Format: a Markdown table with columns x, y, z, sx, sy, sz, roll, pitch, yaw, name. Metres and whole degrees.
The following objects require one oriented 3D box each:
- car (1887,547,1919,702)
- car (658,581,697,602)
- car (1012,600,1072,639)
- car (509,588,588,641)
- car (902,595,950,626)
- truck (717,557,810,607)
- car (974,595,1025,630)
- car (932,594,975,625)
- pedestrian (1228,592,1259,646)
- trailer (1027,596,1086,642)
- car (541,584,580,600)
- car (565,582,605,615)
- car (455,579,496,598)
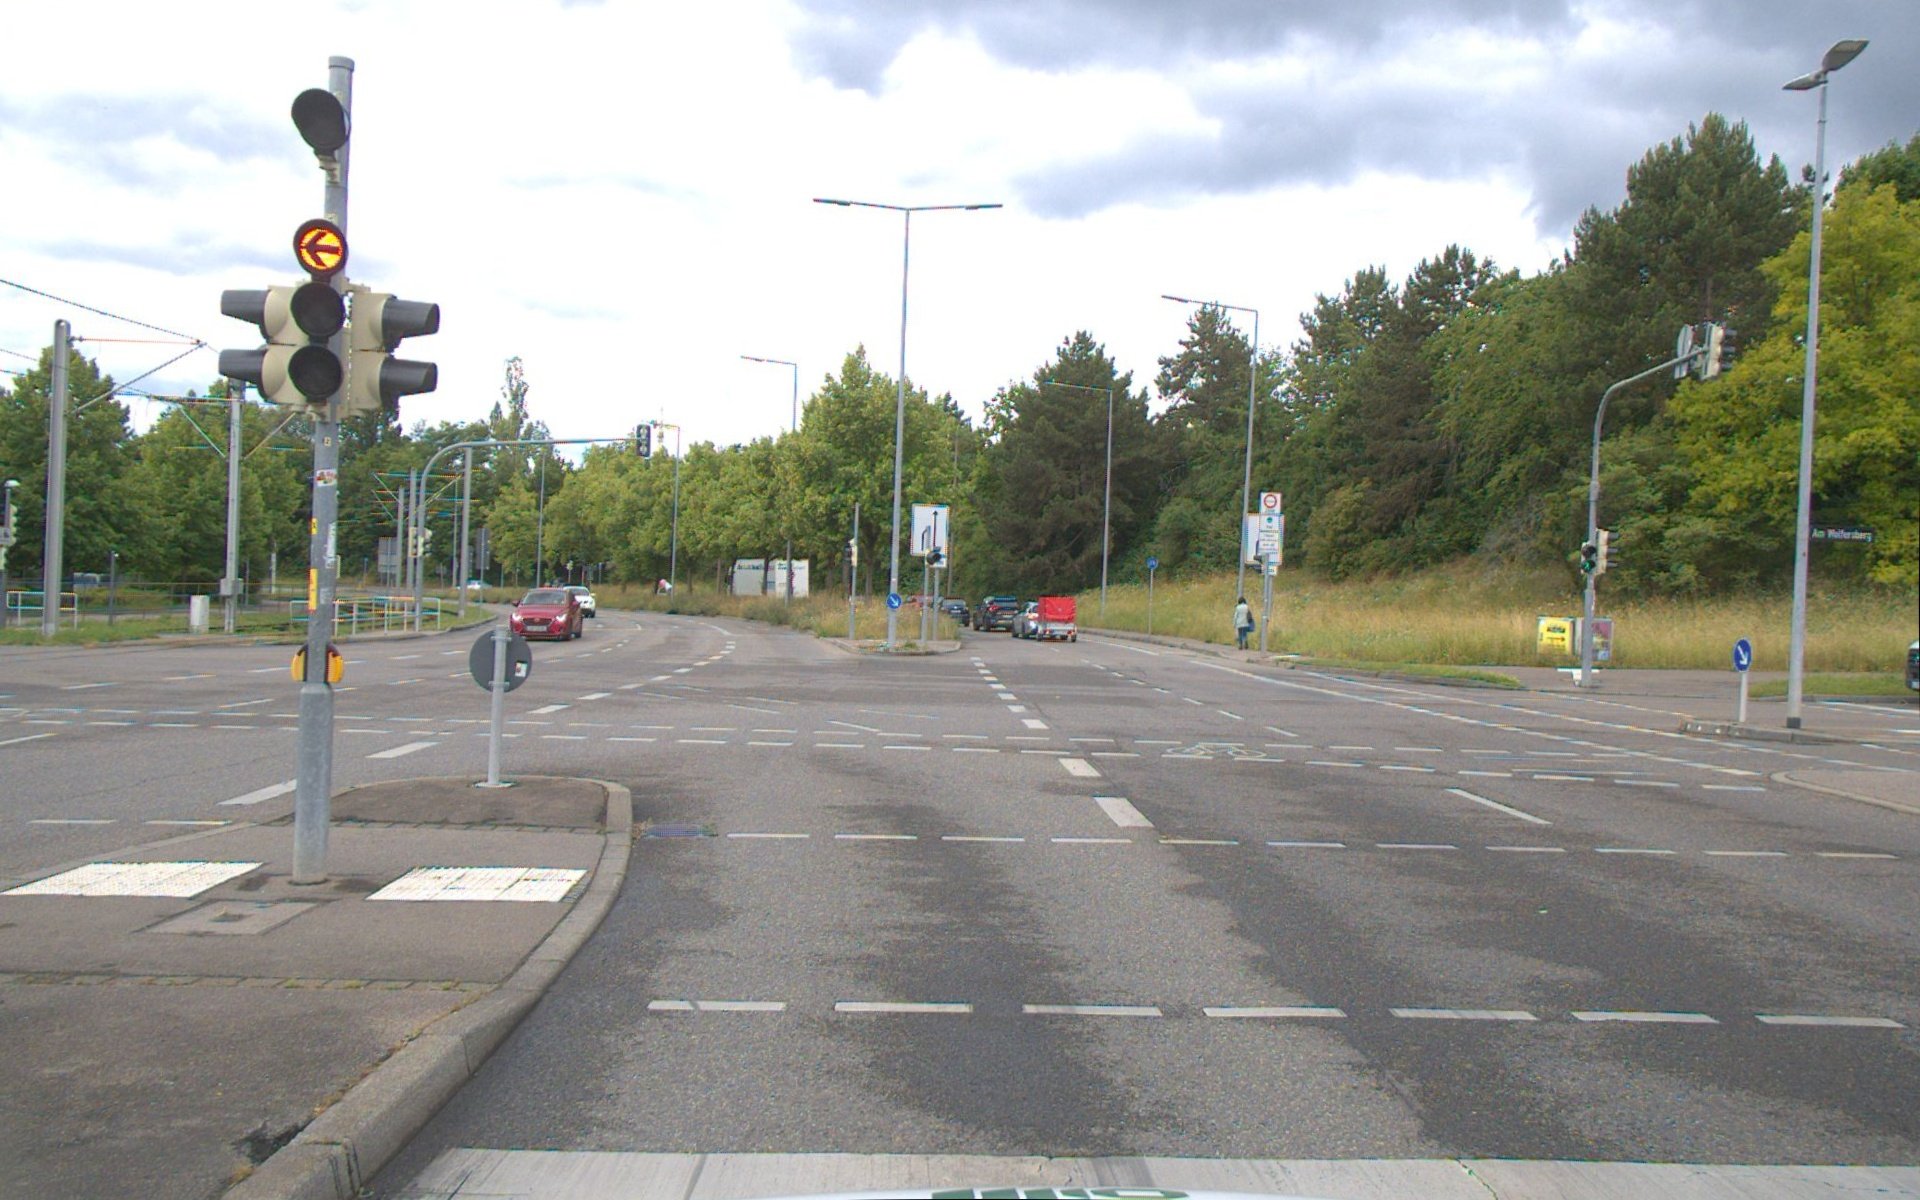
| x | y | z | sx | sy | sz | roll | pitch | yaw | name |
| --- | --- | --- | --- | --- | --- | --- | --- | --- | --- |
| 20.337 | 0.466 | 30.087 | 5.772 | 2.830 | 2.135 | 0 | 0 | -1 | car |
| -22.764 | -0.677 | 133.039 | 1.760 | 1.573 | 3.981 | 1 | 0 | -32 | car |
| 3.226 | 0.765 | 66.073 | 1.744 | 1.446 | 4.453 | 1 | 0 | -6 | car |
| -11.939 | 0.390 | 48.212 | 1.747 | 1.468 | 4.418 | 0 | 0 | -8 | car |
| -1.947 | 0.586 | 93.530 | 1.749 | 1.573 | 4.009 | -1 | 2 | -15 | car |
| -14.335 | -1.324 | 119.651 | 2.709 | 3.387 | 11.298 | 1 | 0 | -29 | truck |
| 1.850 | 0.580 | 77.888 | 1.745 | 1.573 | 4.017 | 1 | 0 | -8 | car |
| -0.365 | 0.490 | 87.429 | 1.745 | 1.573 | 4.017 | 1 | 0 | -8 | car |
| 8.955 | 0.599 | 52.211 | 0.797 | 1.656 | 0.790 | 1 | 0 | -1 | pedestrian |
| 3.623 | 0.712 | 62.346 | 1.731 | 1.644 | 3.040 | 1 | 0 | -6 | trailer |
| -39.407 | -0.812 | 163.312 | 1.742 | 1.573 | 4.024 | 1 | 0 | 22 | car |
| -19.361 | -0.088 | 85.456 | 1.795 | 1.657 | 4.415 | 0 | 0 | -10 | car |
| -45.642 | -1.055 | 155.846 | 3.930 | 1.713 | 1.987 | 1 | 0 | 43 | car |
